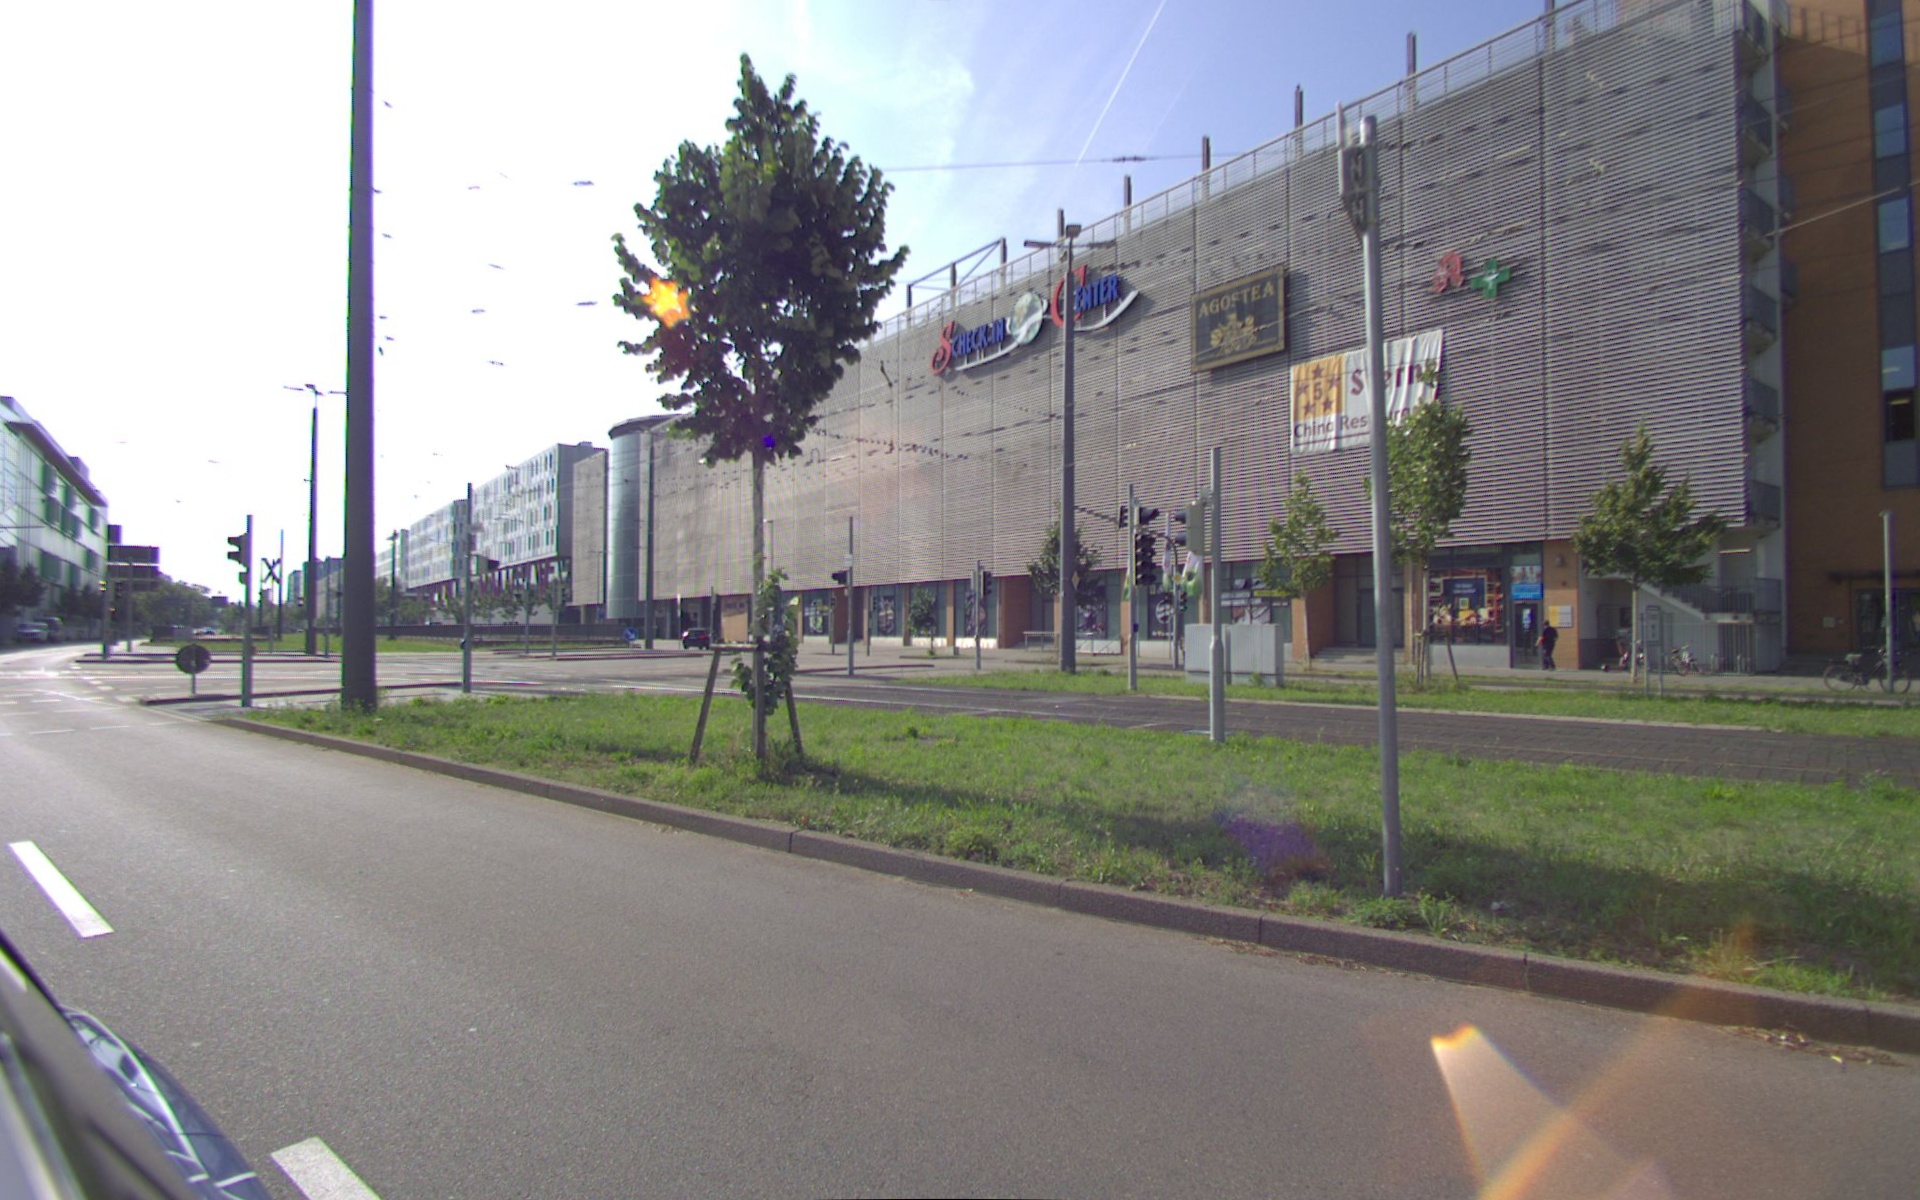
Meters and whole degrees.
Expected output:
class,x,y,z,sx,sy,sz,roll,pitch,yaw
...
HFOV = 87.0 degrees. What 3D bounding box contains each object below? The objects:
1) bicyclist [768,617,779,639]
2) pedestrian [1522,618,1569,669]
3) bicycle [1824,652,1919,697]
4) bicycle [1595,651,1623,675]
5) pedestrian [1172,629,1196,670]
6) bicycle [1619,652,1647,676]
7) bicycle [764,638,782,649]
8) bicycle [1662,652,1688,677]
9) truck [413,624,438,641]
class,x,y,z,sx,sy,sz,roll,pitch,yaw
bicyclist,-14.134,2.155,76.727,0.559,1.642,0.716,2,-1,-39
pedestrian,20.503,1.512,35.461,0.806,1.732,1.179,1,-2,-37
bicycle,23.201,1.867,25.506,0.438,0.995,2.170,2,-1,-28
bicycle,21.717,2.108,33.844,0.989,0.758,0.453,1,-2,-36
pedestrian,8.827,1.928,39.827,0.752,1.591,0.591,2,-3,-41
bicycle,22.119,2.088,33.267,0.989,0.758,0.453,1,-2,-36
bicycle,-14.159,3.275,76.712,0.573,0.785,1.873,1,-2,-37
bicycle,22.817,2.056,32.299,1.007,0.758,0.362,1,-2,-36
truck,-76.225,4.633,144.331,2.173,2.340,4.557,1,-2,-42
